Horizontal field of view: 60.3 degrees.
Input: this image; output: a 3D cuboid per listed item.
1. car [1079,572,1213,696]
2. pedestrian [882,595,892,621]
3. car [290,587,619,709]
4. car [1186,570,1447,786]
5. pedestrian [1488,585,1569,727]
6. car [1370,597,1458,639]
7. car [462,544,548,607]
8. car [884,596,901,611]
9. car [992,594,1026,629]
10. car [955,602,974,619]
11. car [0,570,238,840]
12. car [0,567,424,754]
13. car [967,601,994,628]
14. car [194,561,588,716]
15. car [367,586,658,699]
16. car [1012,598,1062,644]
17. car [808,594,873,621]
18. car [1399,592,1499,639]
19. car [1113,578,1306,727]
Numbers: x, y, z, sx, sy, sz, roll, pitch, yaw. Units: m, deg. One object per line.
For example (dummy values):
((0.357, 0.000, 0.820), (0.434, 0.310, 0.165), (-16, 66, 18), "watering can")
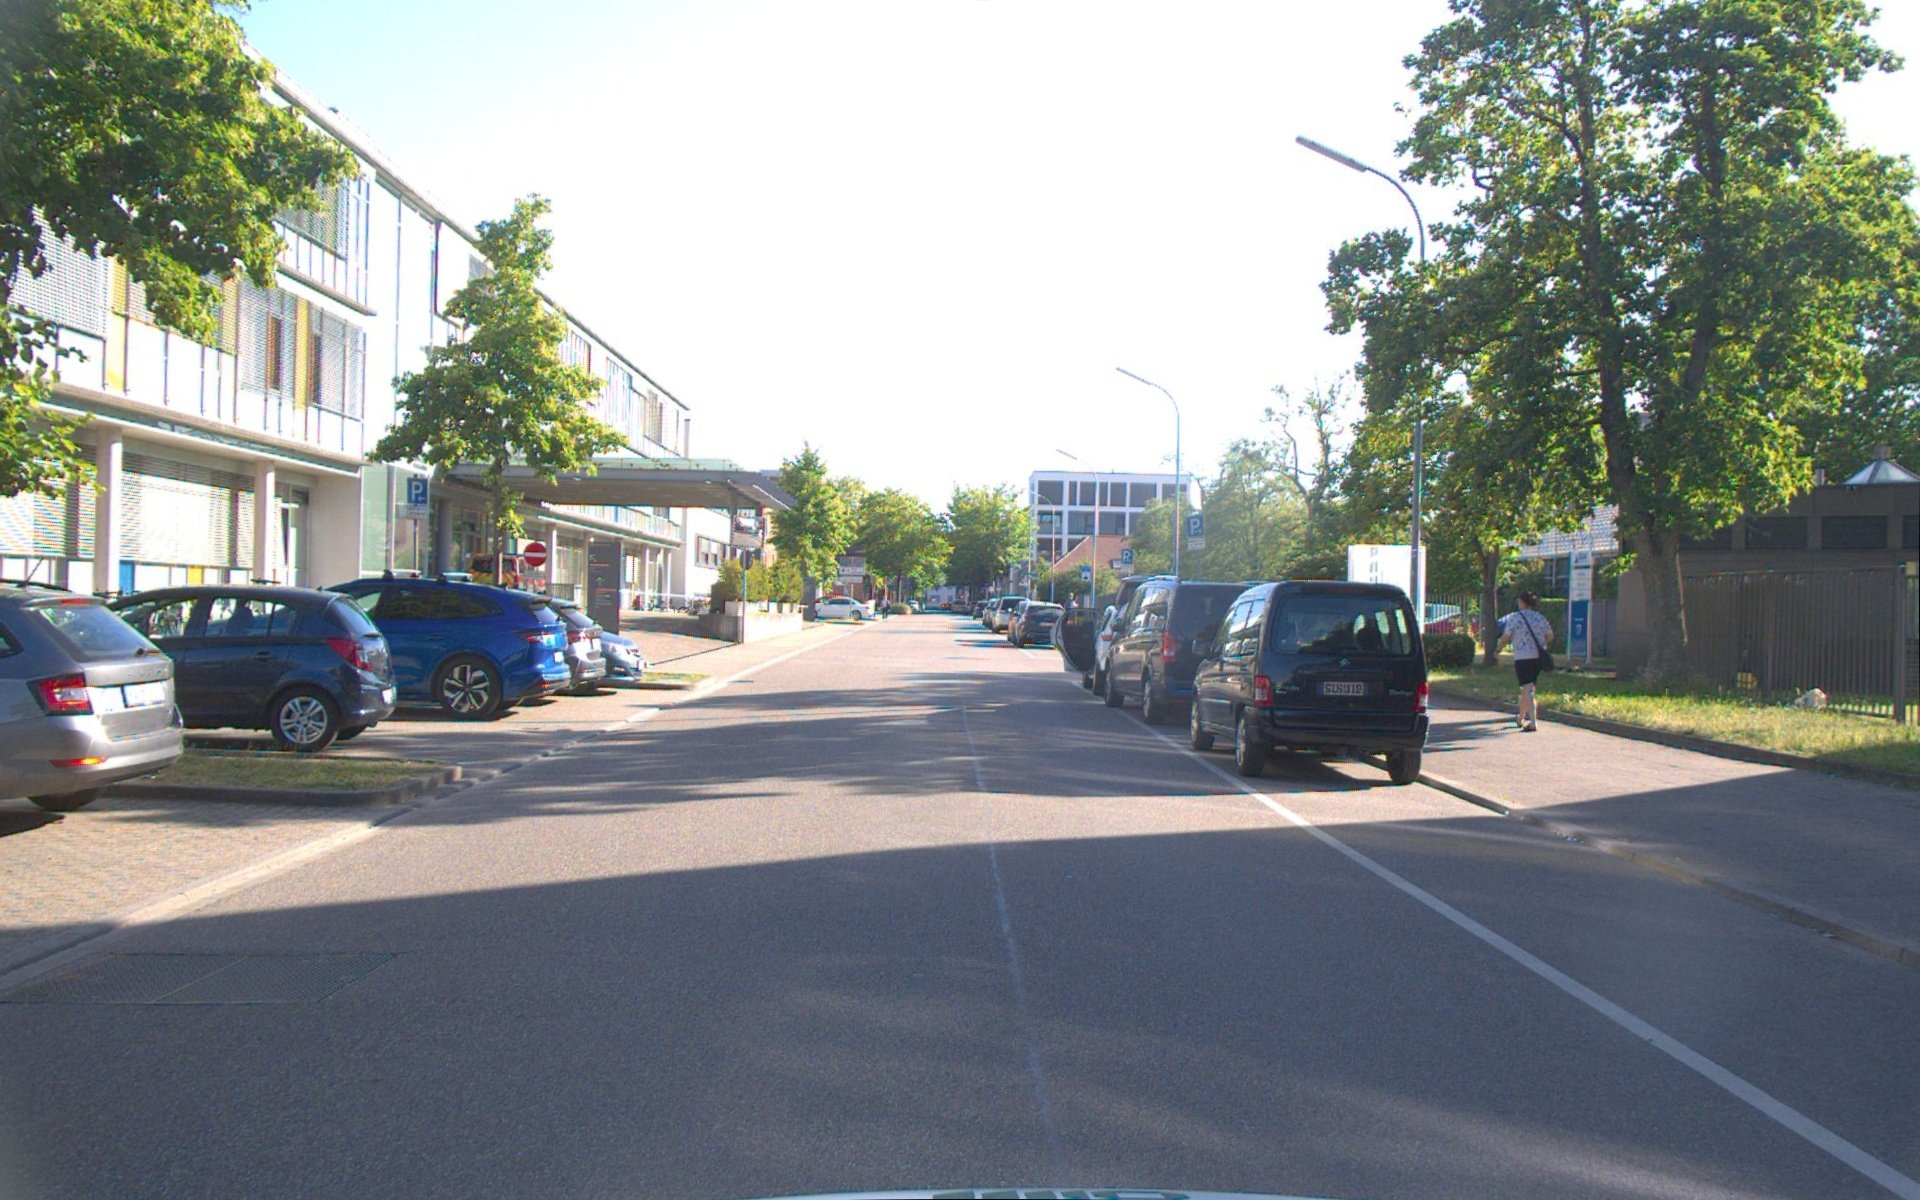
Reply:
((3.163, 0.541, 28.900), (1.836, 2.013, 3.999), (0, 0, -1), "car")
((-4.613, 0.481, 104.552), (0.606, 1.652, 0.716), (0, 0, -1), "pedestrian")
((-6.792, 0.633, 22.589), (3.908, 1.579, 1.999), (0, 0, -4), "car")
((3.385, 0.684, 16.416), (1.697, 1.862, 3.905), (1, 0, -1), "car")
((6.972, 0.675, 20.313), (0.684, 1.690, 0.751), (-2, 0, -1), "pedestrian")
((23.308, 0.945, 85.031), (3.907, 2.049, 1.999), (1, -1, -3), "car")
((-16.119, -0.820, 58.758), (1.953, 2.049, 3.999), (1, -1, -1), "car")
((-6.954, 0.348, 170.158), (1.692, 1.563, 3.998), (1, 0, -2), "car")
((2.290, 0.527, 77.518), (1.407, 1.588, 3.041), (1, 0, -1), "car")
((0.440, 1.097, 171.369), (1.853, 1.710, 3.998), (1, 0, -2), "car")
((-6.935, 0.523, 10.149), (4.131, 1.487, 1.870), (3, 0, -5), "car")
((-7.422, 0.527, 15.554), (4.131, 1.512, 1.870), (3, 0, -5), "car")
((1.590, 1.171, 129.174), (1.953, 2.049, 3.999), (1, -1, -1), "car")
((-6.813, 0.449, 20.197), (4.131, 1.631, 1.870), (3, 0, -5), "car")
((-6.690, 0.617, 25.100), (3.908, 1.579, 1.999), (1, 0, -4), "car")
((2.573, 0.698, 55.966), (1.466, 1.505, 3.649), (0, 0, -1), "car")
((-7.491, 0.481, 103.751), (3.906, 1.546, 1.999), (1, -1, -1), "car")
((22.200, 0.716, 75.206), (3.910, 2.049, 1.997), (1, -1, -6), "car")
((3.294, 0.644, 22.655), (1.953, 1.855, 4.197), (0, 0, -1), "car")
